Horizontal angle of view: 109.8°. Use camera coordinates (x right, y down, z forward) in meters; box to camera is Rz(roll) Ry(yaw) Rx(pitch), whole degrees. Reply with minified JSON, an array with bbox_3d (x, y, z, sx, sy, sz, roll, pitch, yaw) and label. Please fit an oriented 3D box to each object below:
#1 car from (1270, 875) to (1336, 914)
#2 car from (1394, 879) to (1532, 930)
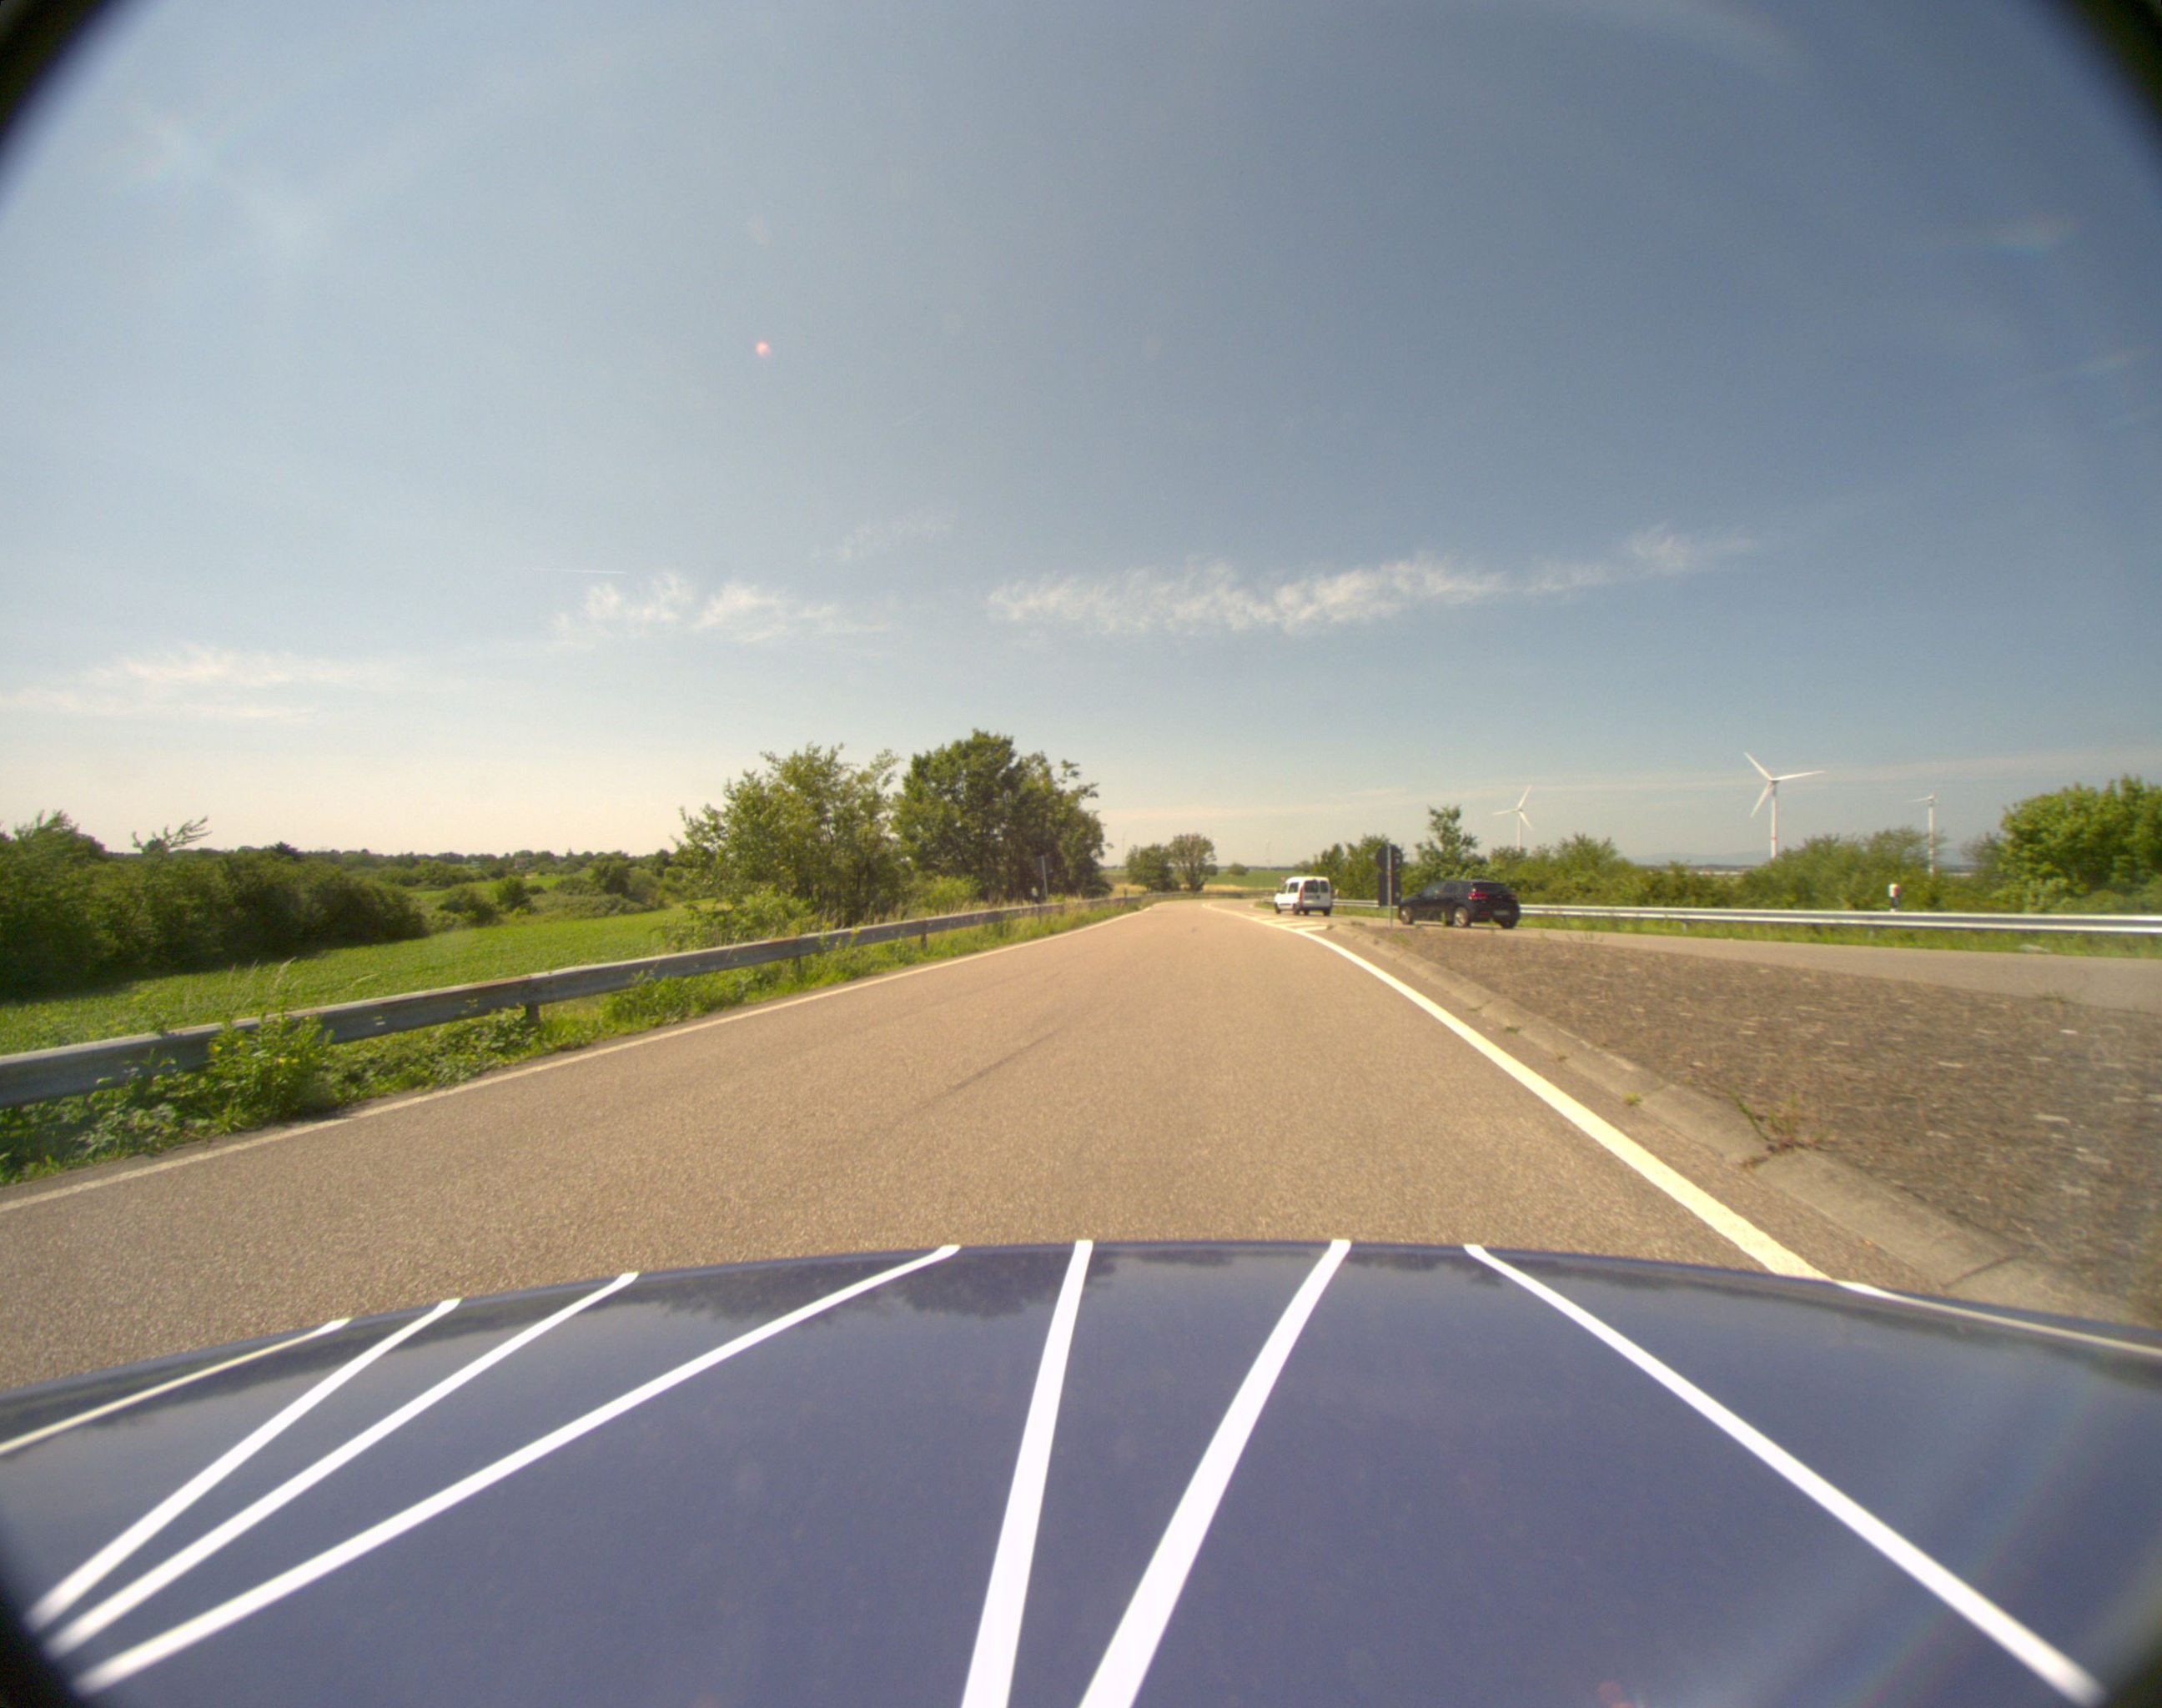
[{"bbox_3d":[10.424,1.908,35.972,1.741,1.750,4.084,0,-3,-4],"label":"car"},{"bbox_3d":[11.514,1.508,23.219,1.714,1.387,3.885,2,-3,-12],"label":"car"}]
